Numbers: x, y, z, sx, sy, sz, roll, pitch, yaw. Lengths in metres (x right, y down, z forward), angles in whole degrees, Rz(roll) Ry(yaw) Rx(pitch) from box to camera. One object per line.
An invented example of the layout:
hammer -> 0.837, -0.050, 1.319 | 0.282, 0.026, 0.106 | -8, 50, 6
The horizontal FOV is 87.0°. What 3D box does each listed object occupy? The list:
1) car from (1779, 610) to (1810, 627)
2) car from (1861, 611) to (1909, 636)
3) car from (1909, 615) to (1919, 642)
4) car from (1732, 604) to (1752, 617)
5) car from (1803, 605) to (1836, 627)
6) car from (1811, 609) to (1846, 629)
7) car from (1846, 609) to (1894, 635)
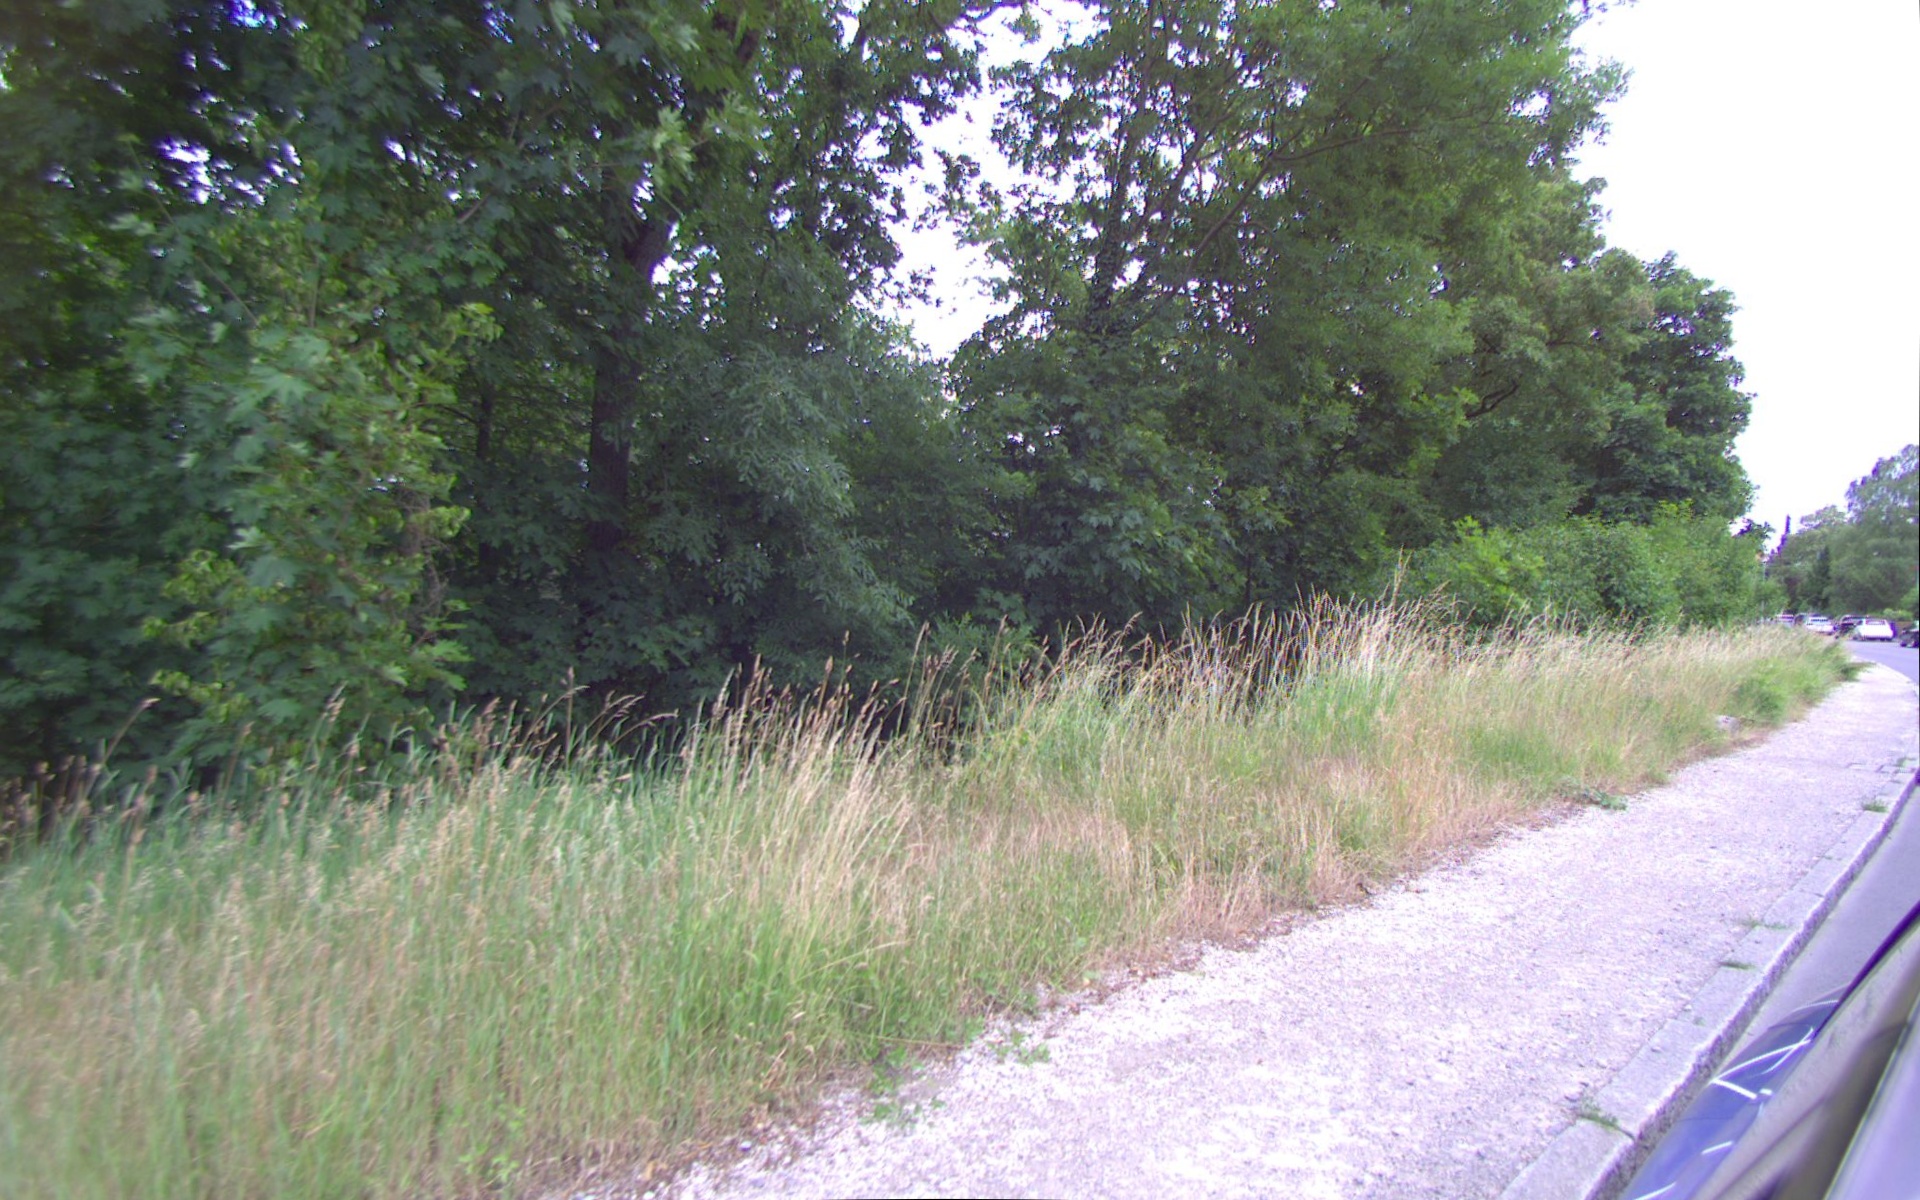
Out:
car -> 81.282, 1.794, 98.661 | 1.789, 1.627, 4.674 | 1, 0, 33
car -> 60.399, 1.531, 66.125 | 1.700, 1.530, 3.899 | 1, 0, 33
car -> 52.376, 1.529, 54.099 | 1.700, 1.434, 4.100 | 1, 0, 33
car -> 109.194, 1.467, 141.283 | 1.911, 1.701, 4.143 | 1, 0, 34
car -> 74.506, 1.364, 87.762 | 1.701, 1.822, 4.244 | 1, 0, 34
car -> 71.108, 1.545, 82.883 | 1.701, 1.530, 4.496 | 1, 0, 35
car -> 62.773, 1.495, 69.892 | 1.785, 1.685, 4.339 | 1, 0, 33
